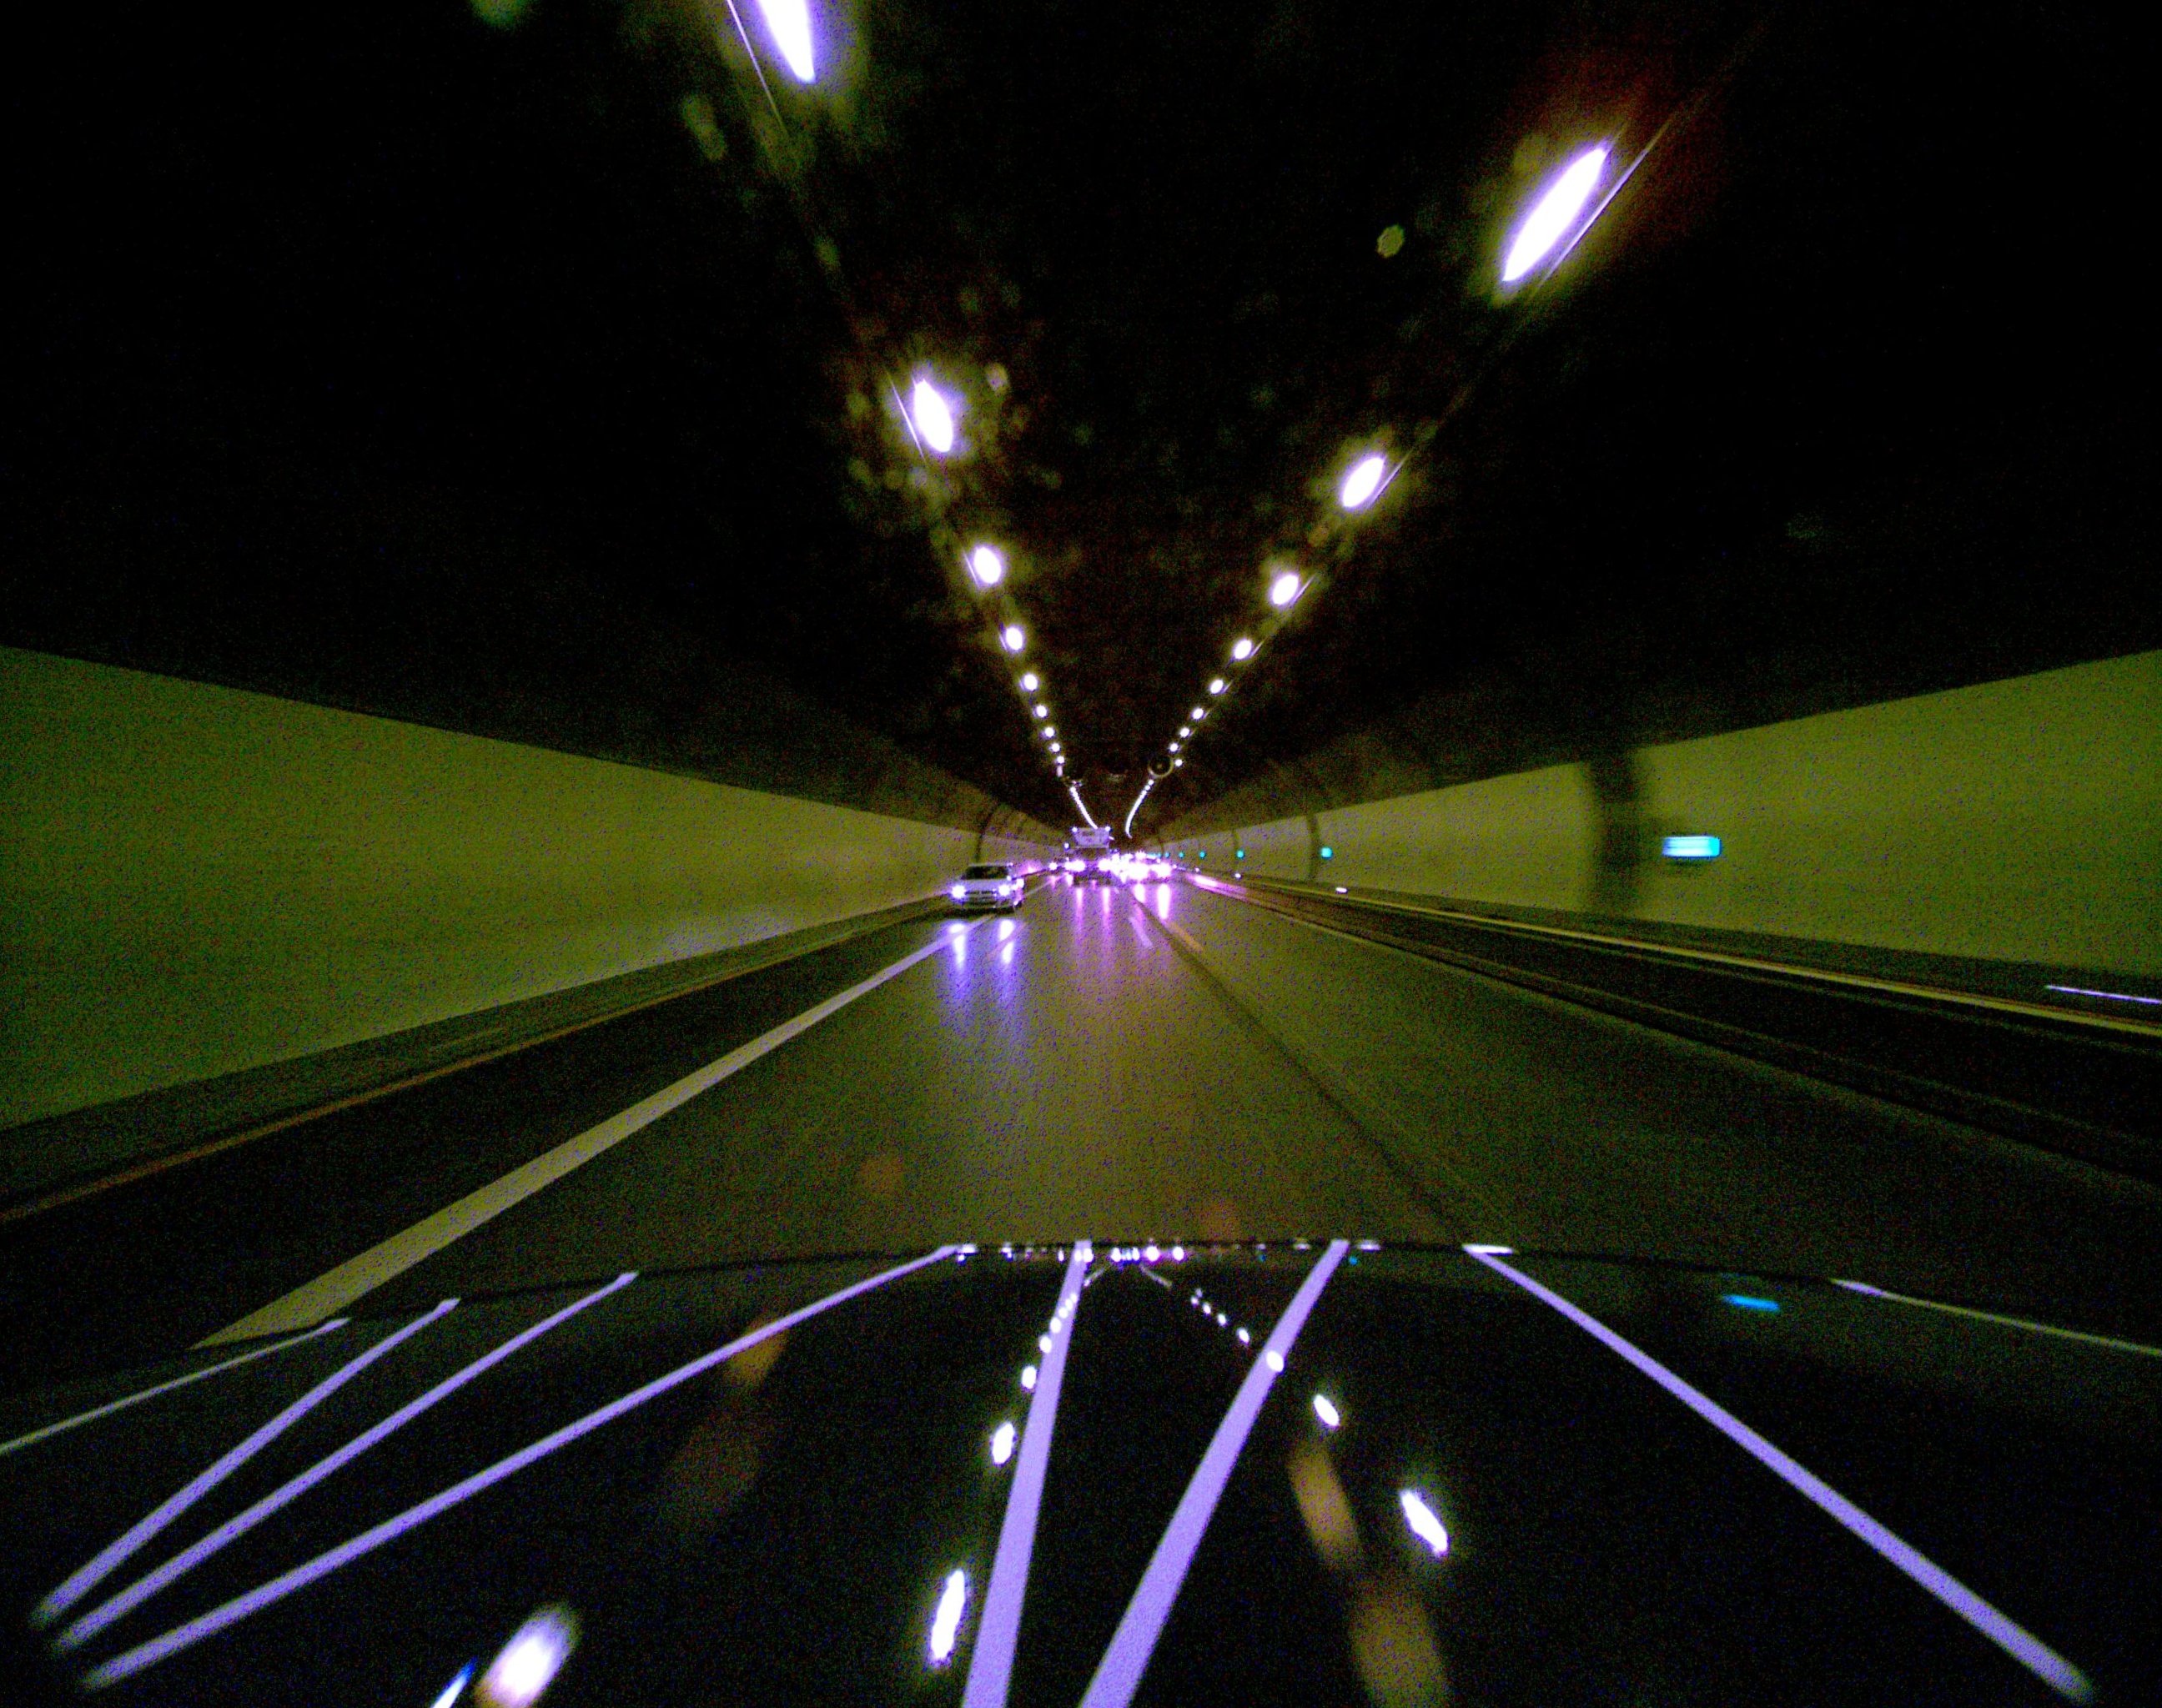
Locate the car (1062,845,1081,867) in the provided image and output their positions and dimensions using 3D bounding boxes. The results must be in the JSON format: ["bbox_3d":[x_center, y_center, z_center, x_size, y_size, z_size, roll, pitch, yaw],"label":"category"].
[{"bbox_3d":[-1.191,0.155,98.251,2.124,2.629,6.229,-3,1,0],"label":"car"}]

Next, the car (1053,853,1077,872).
[{"bbox_3d":[-1.419,0.747,68.786,1.958,1.528,4.757,-3,1,0],"label":"car"}]

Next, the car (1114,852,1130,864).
[{"bbox_3d":[6.138,0.526,113.261,1.958,1.528,4.757,-5,1,0],"label":"car"}]

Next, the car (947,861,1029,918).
[{"bbox_3d":[-2.660,0.972,22.634,1.801,1.452,4.035,-2,0,2],"label":"car"}]

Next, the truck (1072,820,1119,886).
[{"bbox_3d":[0.743,-0.069,41.931,2.262,3.238,7.382,-2,0,0],"label":"truck"}]

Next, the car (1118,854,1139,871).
[{"bbox_3d":[4.288,0.770,68.924,1.657,1.395,3.656,-1,0,0],"label":"car"}]

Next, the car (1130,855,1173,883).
[{"bbox_3d":[3.901,0.800,42.912,1.908,1.476,4.943,-1,0,0],"label":"car"}]
